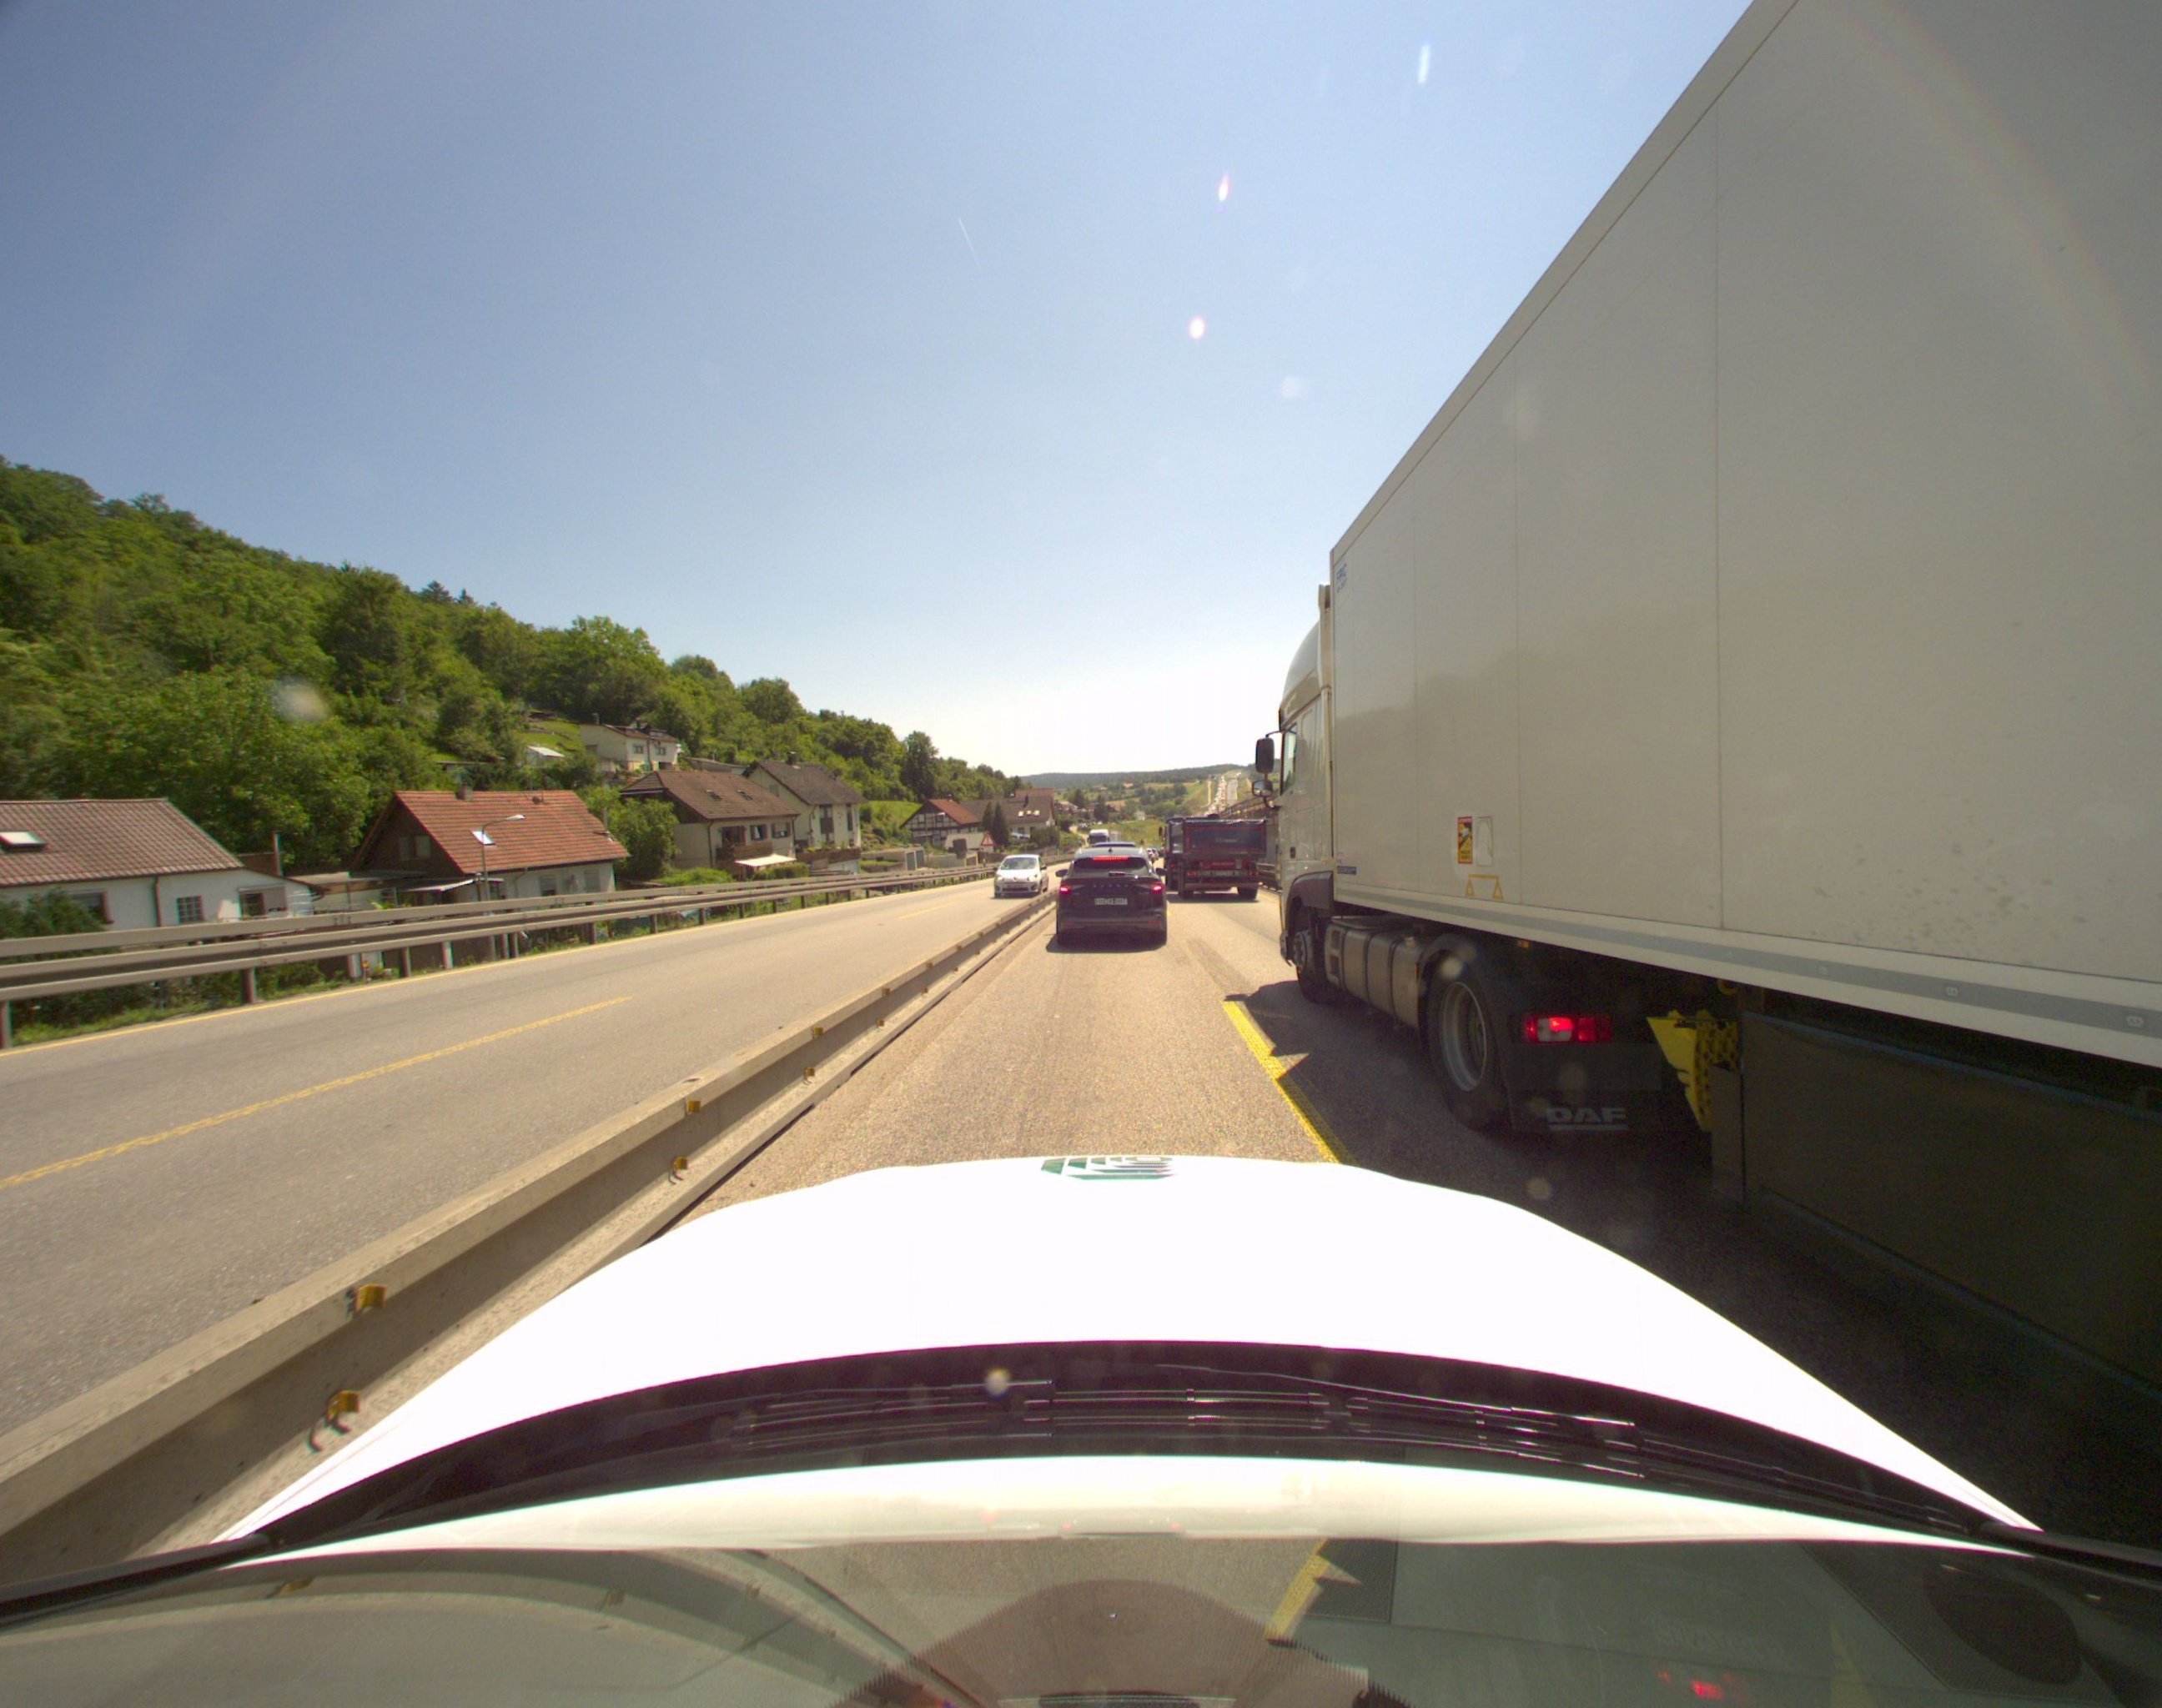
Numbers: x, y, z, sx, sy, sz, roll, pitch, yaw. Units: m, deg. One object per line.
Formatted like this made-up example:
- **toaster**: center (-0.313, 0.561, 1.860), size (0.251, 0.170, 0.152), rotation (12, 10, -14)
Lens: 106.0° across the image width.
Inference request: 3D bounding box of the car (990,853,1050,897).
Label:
- **car**: center (-2.132, 0.707, 29.377), size (1.740, 1.426, 3.711), rotation (-1, 1, 2)

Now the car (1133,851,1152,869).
- **car**: center (5.875, 0.576, 77.718), size (1.699, 1.622, 4.006), rotation (0, 1, 5)

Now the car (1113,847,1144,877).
- **car**: center (2.689, 0.406, 46.717), size (1.700, 1.622, 4.002), rotation (0, 1, 1)

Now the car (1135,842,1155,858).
- **car**: center (6.950, -0.413, 88.012), size (1.983, 1.585, 3.842), rotation (0, 0, 6)

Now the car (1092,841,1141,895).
- **car**: center (1.273, 0.461, 30.338), size (1.700, 1.881, 4.002), rotation (0, 1, 1)

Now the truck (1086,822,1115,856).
- **truck**: center (2.687, -1.950, 108.634), size (3.287, 4.362, 8.313), rotation (0, 0, 5)

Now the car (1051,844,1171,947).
- **car**: center (0.511, 0.656, 14.501), size (1.836, 1.586, 3.908), rotation (0, 0, 1)

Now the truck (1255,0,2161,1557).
- **truck**: center (3.232, -0.697, 5.628), size (2.504, 4.025, 8.240), rotation (0, 0, 1)

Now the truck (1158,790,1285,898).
- **truck**: center (4.813, -0.256, 30.830), size (3.182, 3.191, 12.817), rotation (0, 0, 3)

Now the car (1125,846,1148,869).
- **car**: center (4.306, 0.250, 63.017), size (1.699, 1.622, 4.006), rotation (0, 1, 5)

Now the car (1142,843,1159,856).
- **car**: center (8.669, -0.505, 101.255), size (1.983, 1.585, 3.842), rotation (0, 0, 6)

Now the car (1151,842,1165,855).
- **car**: center (11.036, -0.782, 115.918), size (1.690, 1.728, 3.846), rotation (0, 0, 10)
